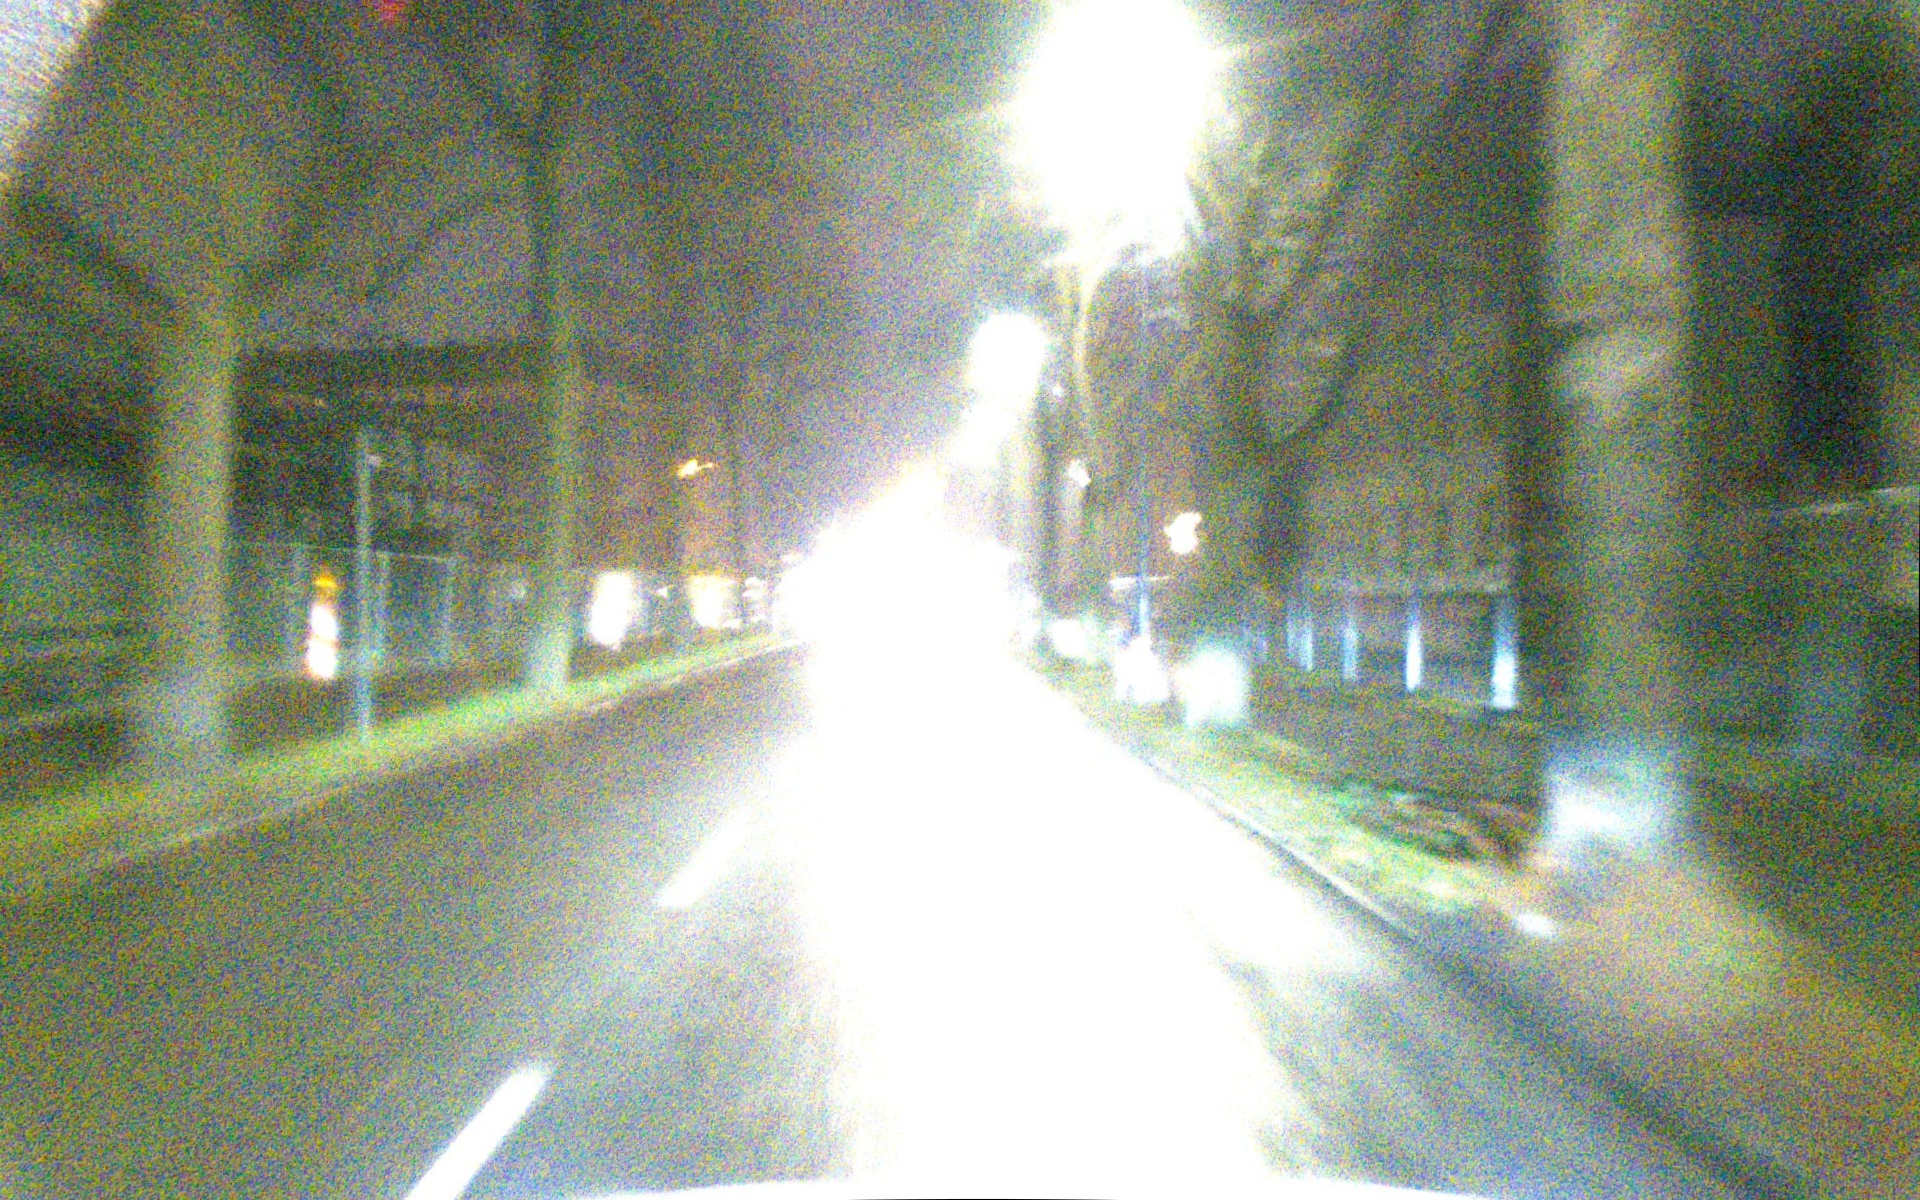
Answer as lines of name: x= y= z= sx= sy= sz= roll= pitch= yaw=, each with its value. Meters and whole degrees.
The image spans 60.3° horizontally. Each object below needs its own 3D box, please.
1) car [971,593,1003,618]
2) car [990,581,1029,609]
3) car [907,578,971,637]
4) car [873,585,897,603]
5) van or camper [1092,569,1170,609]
car: x=1.694 y=0.356 z=105.814 sx=1.679 sy=1.515 sz=4.433 roll=-1 pitch=1 yaw=-4
car: x=2.811 y=-0.305 z=94.738 sx=1.754 sy=1.474 sz=4.787 roll=-2 pitch=1 yaw=-4
car: x=-0.704 y=0.206 z=52.698 sx=1.953 sy=1.713 sz=3.999 roll=0 pitch=2 yaw=-2
car: x=-6.075 y=-0.493 z=133.887 sx=1.709 sy=1.458 sz=4.000 roll=-1 pitch=0 yaw=0
van or camper: x=11.374 y=-0.734 z=110.020 sx=4.959 sy=2.571 sz=2.171 roll=0 pitch=1 yaw=0
